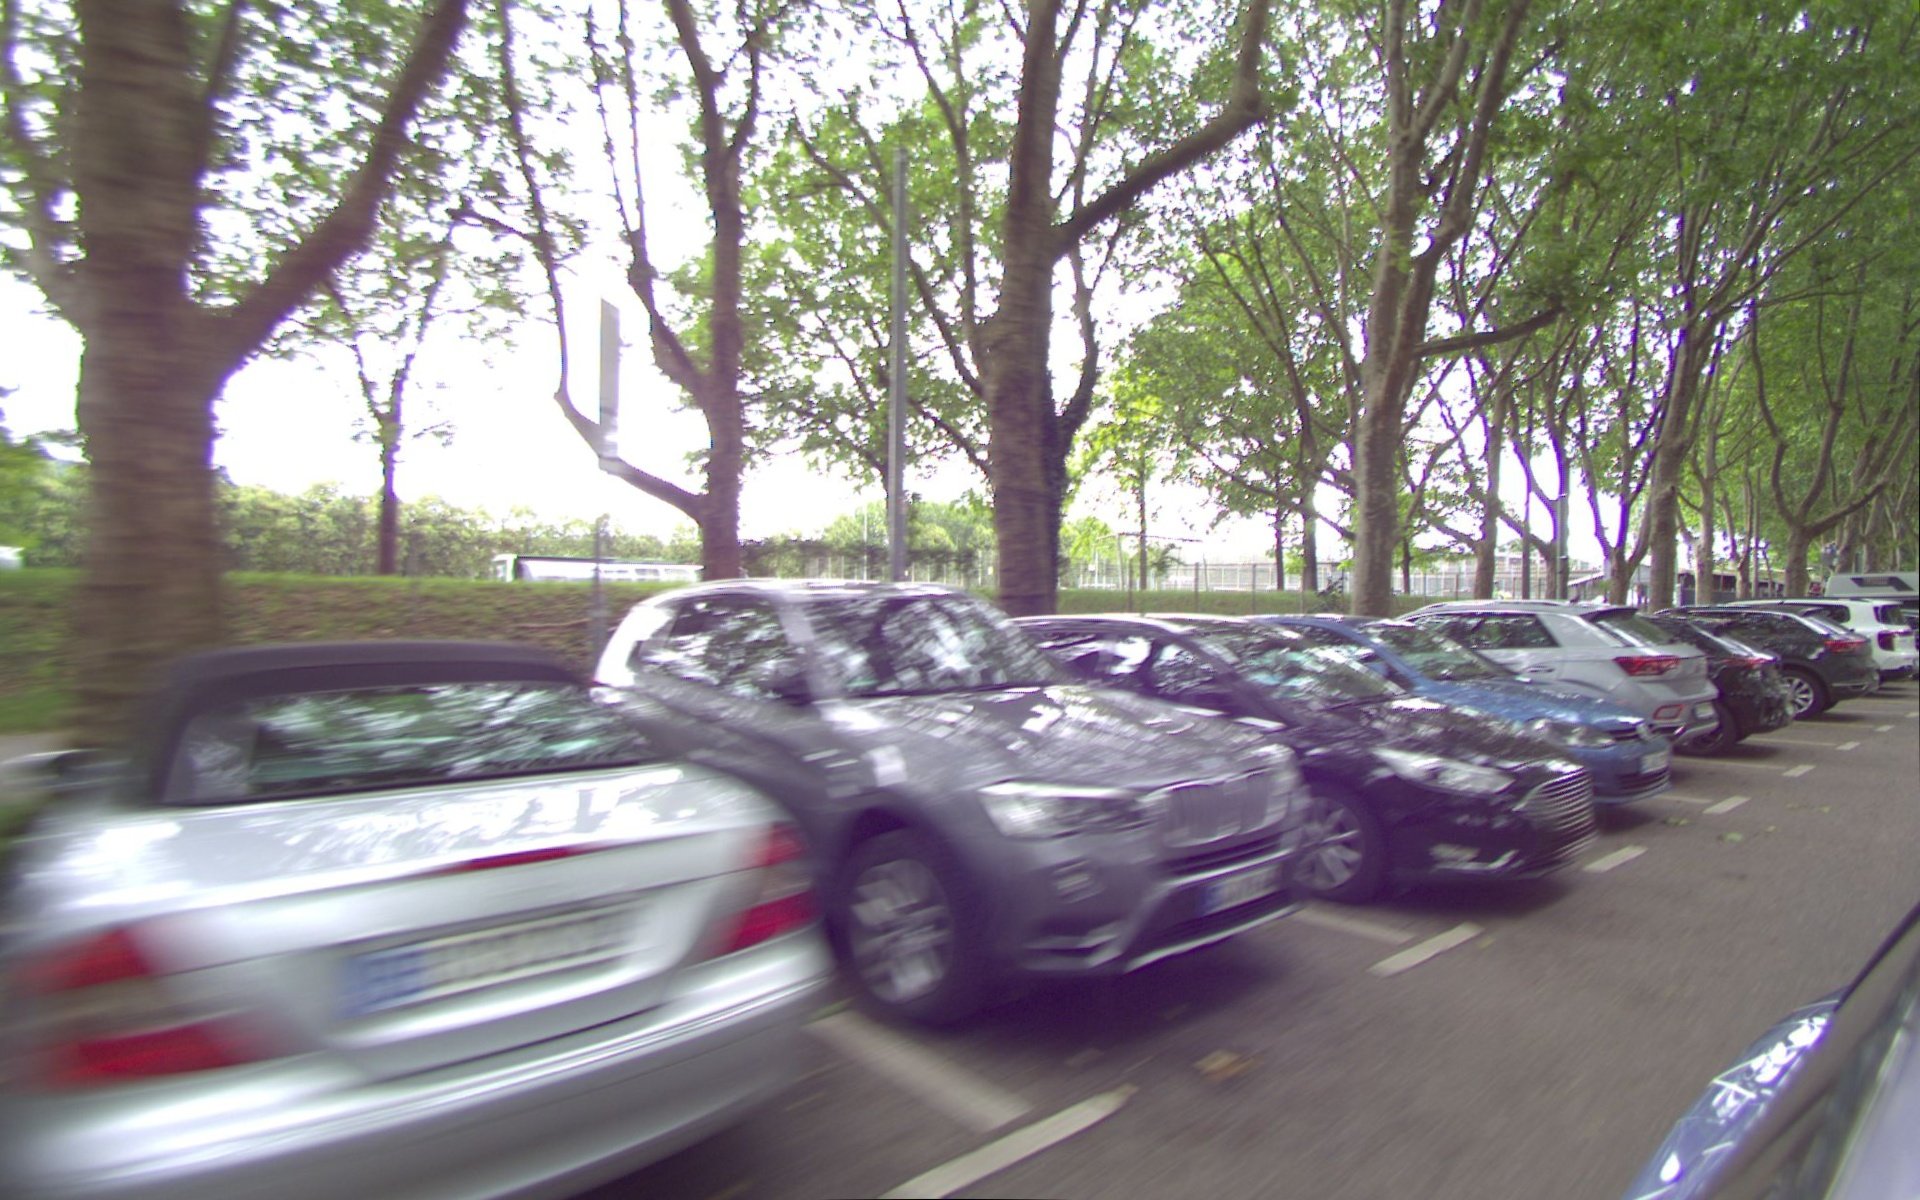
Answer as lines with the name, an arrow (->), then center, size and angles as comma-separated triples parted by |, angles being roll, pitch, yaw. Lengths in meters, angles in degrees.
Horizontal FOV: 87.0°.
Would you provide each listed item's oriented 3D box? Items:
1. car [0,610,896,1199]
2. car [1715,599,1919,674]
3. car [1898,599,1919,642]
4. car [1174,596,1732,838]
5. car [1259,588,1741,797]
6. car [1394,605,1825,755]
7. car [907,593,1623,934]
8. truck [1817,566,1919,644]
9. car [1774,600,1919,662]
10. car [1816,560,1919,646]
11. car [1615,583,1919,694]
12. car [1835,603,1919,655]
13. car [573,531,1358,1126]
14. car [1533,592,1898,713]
car -> -2.096, 0.784, 3.485 | 1.664, 1.488, 4.121 | 0, -1, -39
car -> 19.704, 0.768, 22.441 | 1.673, 1.545, 4.508 | 0, -1, -41
car -> 38.623, 0.745, 38.270 | 1.770, 1.639, 4.351 | 0, -2, -37
car -> 3.671, 0.727, 8.265 | 1.660, 1.474, 3.844 | 0, -1, -29
car -> 5.075, 0.734, 9.918 | 1.665, 1.628, 3.833 | 0, -1, -41
car -> 7.209, 0.771, 11.536 | 1.665, 1.406, 3.833 | 0, -1, -41
car -> 1.577, 0.721, 6.499 | 1.582, 1.470, 4.218 | 0, -1, -41
truck -> 34.977, 0.173, 36.206 | 2.059, 2.750, 6.309 | 0, -1, -38
car -> 24.151, 0.784, 26.608 | 1.783, 1.545, 4.050 | 0, -1, -41
car -> 31.223, 0.093, 32.621 | 1.922, 2.724, 5.239 | 0, -1, -39
car -> 14.790, 0.639, 18.506 | 1.767, 1.777, 4.396 | 0, -1, -37
car -> 27.894, 0.801, 28.876 | 1.672, 1.447, 4.128 | 0, -2, -38
car -> -0.388, 0.664, 5.024 | 1.664, 1.691, 4.122 | 0, -1, -39
car -> 10.793, 0.668, 14.688 | 1.665, 1.505, 3.993 | 0, -1, -41
